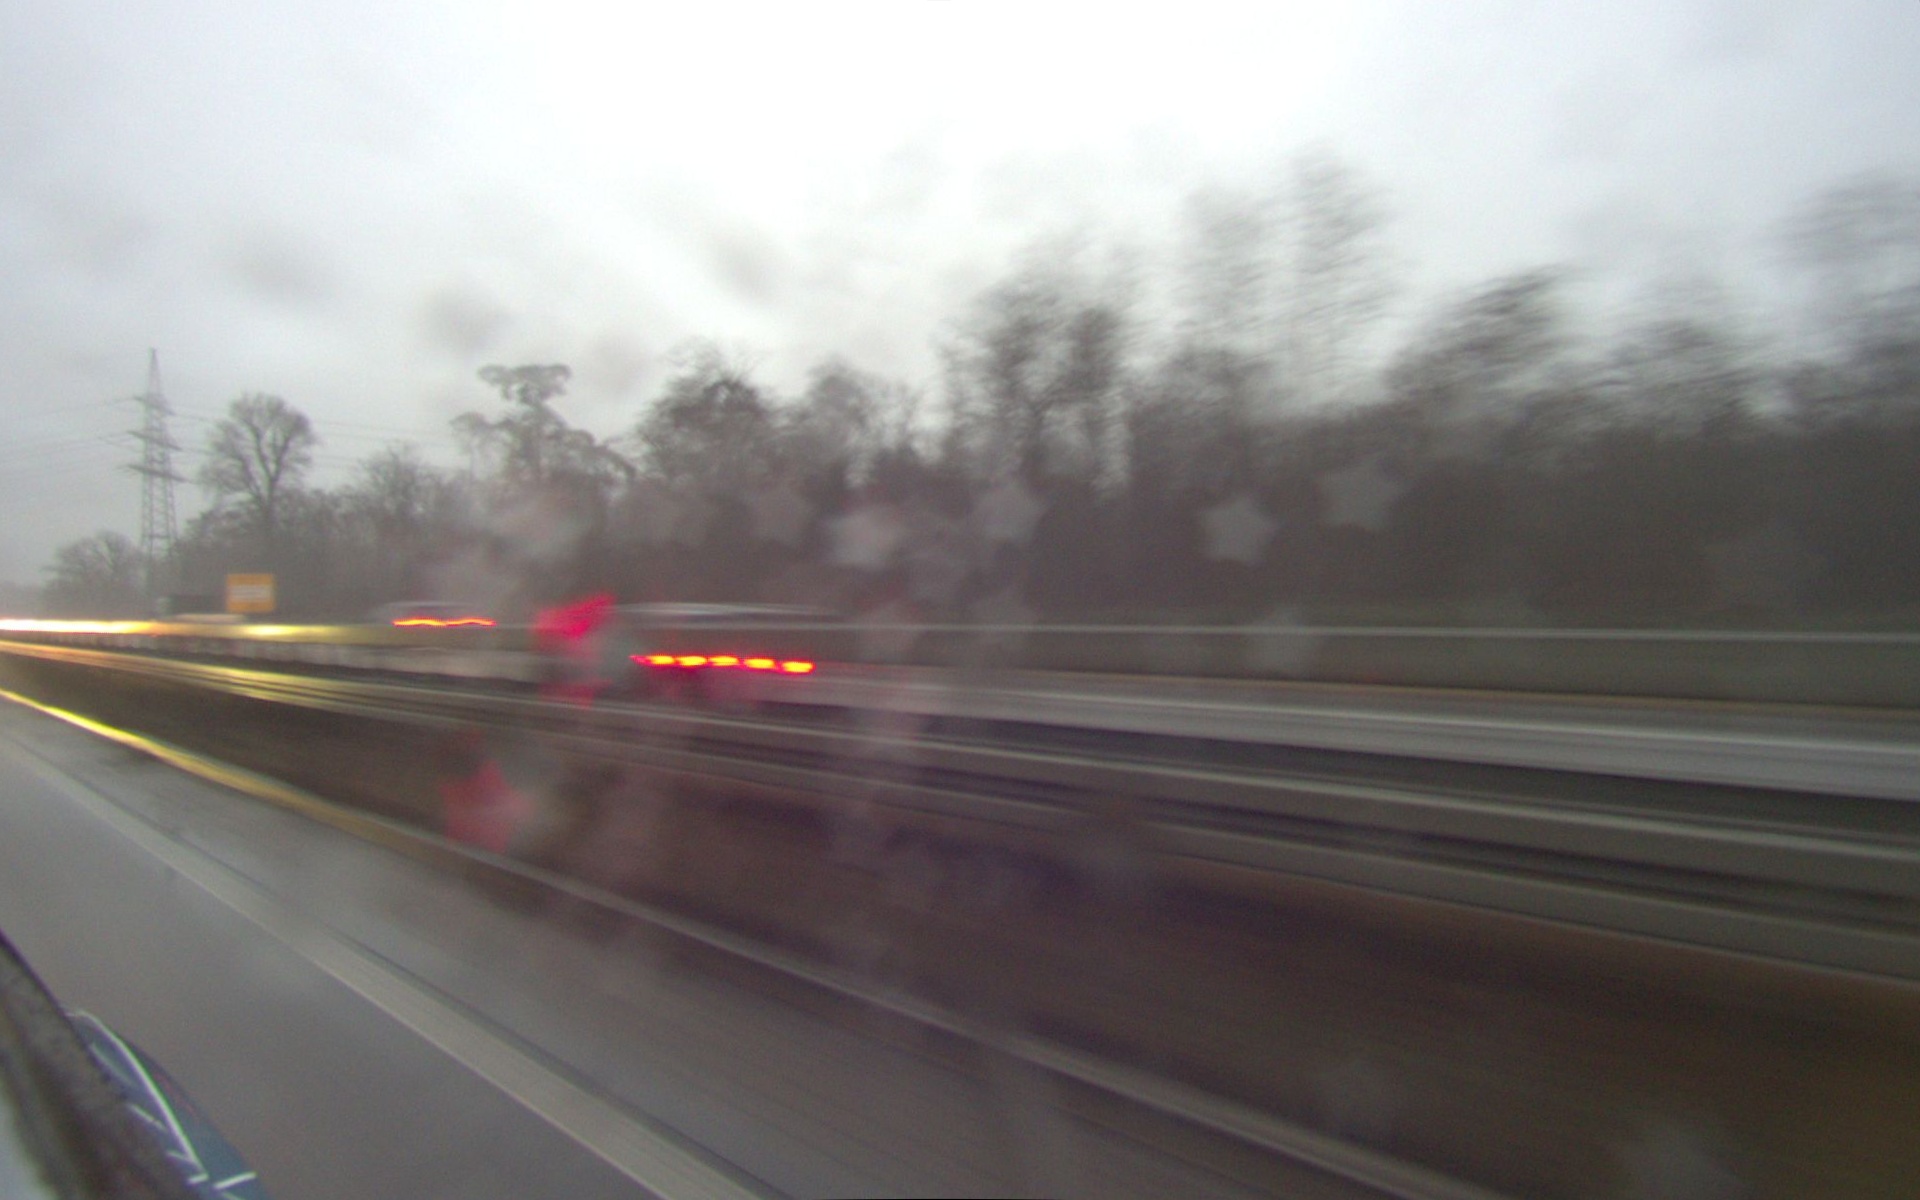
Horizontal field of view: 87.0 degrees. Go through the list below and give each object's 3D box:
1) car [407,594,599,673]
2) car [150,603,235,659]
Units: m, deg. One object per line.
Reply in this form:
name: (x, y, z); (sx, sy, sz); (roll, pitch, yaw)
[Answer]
car: (-10.811, 0.725, 23.731); (5.427, 1.607, 1.973); (-1, 1, 41)
car: (-33.414, 1.290, 44.003); (4.919, 2.229, 1.973); (-1, 1, 42)
